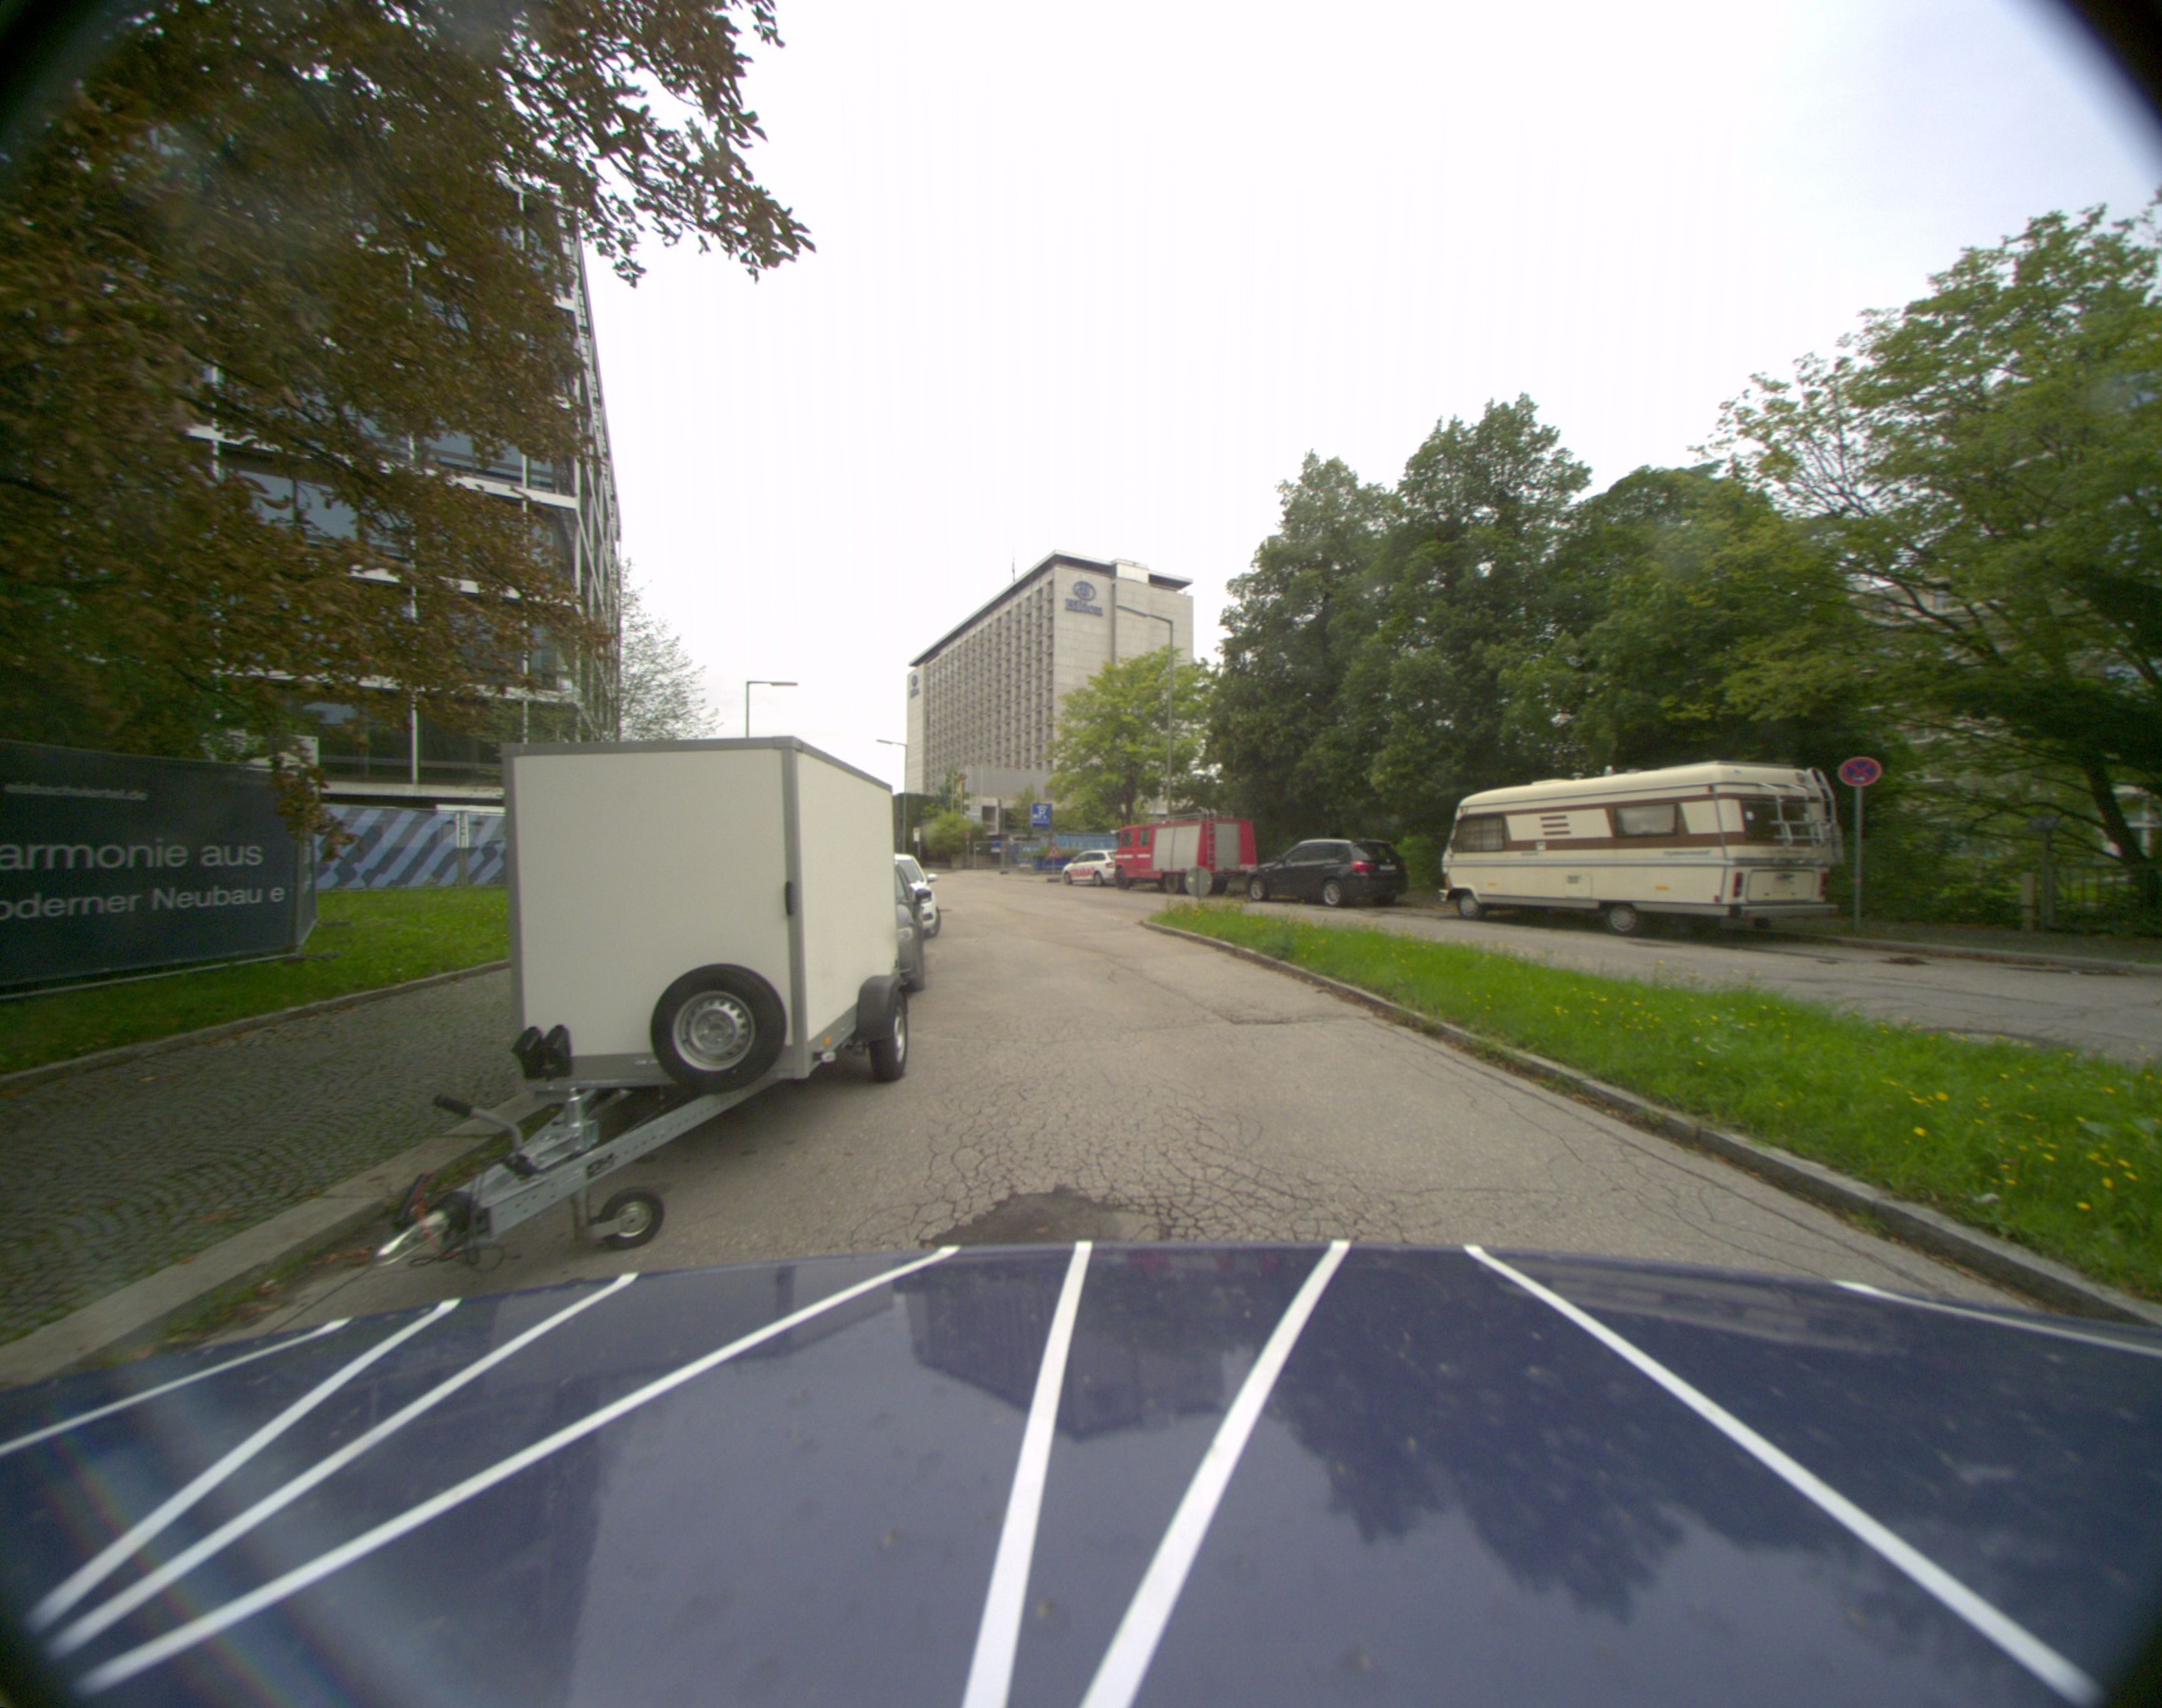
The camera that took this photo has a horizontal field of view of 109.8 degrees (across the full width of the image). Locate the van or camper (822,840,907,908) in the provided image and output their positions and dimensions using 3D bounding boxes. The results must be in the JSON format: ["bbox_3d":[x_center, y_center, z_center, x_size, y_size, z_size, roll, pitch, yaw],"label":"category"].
[{"bbox_3d":[-7.258,0.539,25.065,2.002,2.002,5.365,0,1,-23],"label":"van or camper"}]

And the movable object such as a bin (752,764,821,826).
[{"bbox_3d":[-20.238,-3.827,51.849,3.257,3.695,8.985,0,1,-29],"label":"movable object such as a bin"}]

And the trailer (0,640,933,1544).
[{"bbox_3d":[-2.135,0.499,4.090,1.813,2.002,4.832,0,1,-1],"label":"trailer"}]

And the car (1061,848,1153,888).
[{"bbox_3d":[1.003,0.521,31.615,1.785,1.541,4.246,0,1,-31],"label":"car"}]

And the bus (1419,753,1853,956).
[{"bbox_3d":[8.896,-0.012,13.108,2.325,2.683,5.724,0,1,-19],"label":"bus"}]

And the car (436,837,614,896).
[{"bbox_3d":[-19.451,0.378,26.891,4.783,1.911,1.995,-1,1,-27],"label":"car"}]

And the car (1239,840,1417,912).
[{"bbox_3d":[6.217,0.476,19.694,1.784,1.640,4.450,0,1,-26],"label":"car"}]

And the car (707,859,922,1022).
[{"bbox_3d":[-2.902,0.813,9.192,1.878,1.428,4.323,1,0,-12],"label":"car"}]

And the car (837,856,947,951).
[{"bbox_3d":[-3.684,0.808,14.588,1.773,1.477,4.214,0,1,-16],"label":"car"}]

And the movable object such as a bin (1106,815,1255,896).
[{"bbox_3d":[3.170,0.022,26.011,2.114,2.444,6.173,0,1,-24],"label":"movable object such as a bin"}]
